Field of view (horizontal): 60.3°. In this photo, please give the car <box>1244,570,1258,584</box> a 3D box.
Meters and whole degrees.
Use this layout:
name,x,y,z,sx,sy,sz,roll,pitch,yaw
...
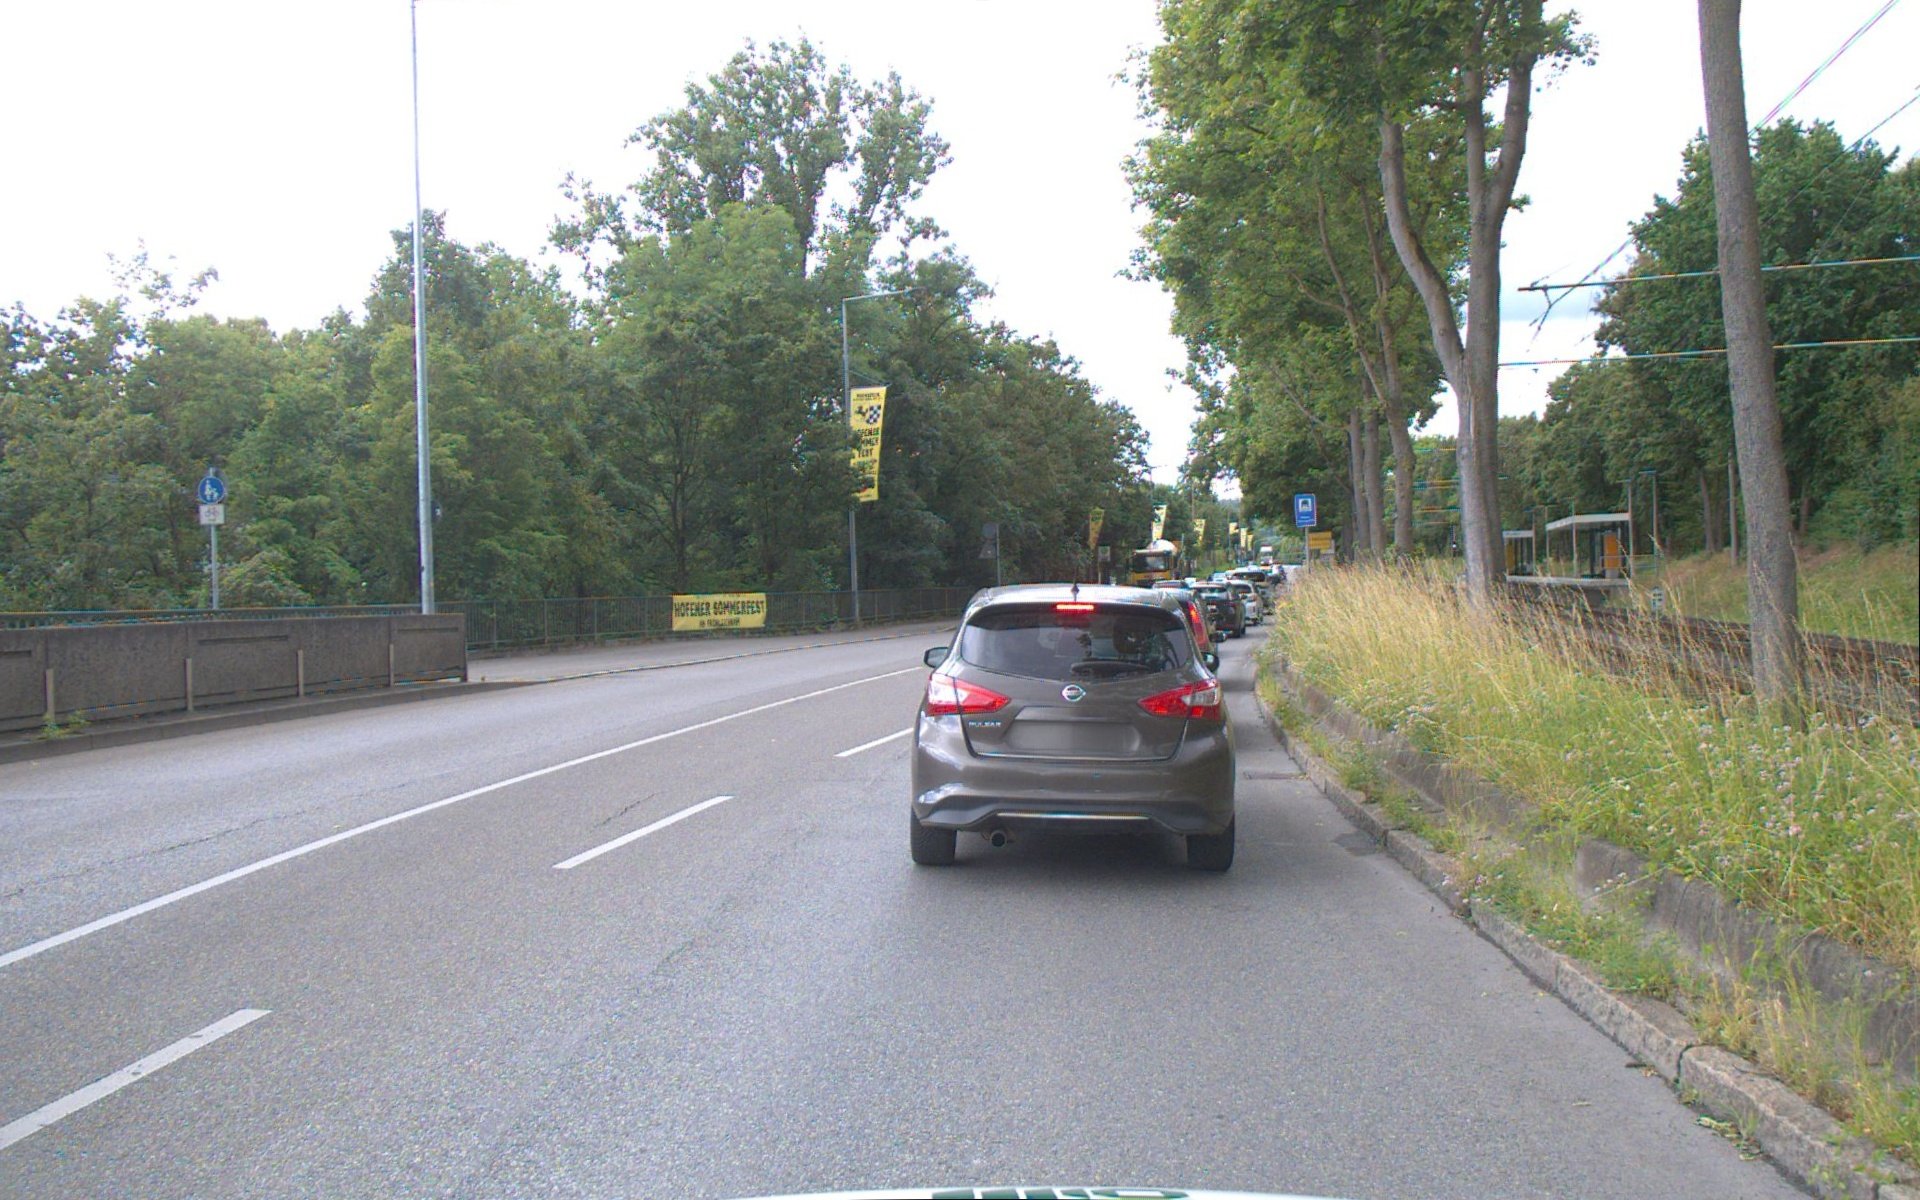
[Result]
name,x,y,z,sx,sy,sz,roll,pitch,yaw
car,39.952,-3.198,227.151,1.681,1.723,3.728,-2,-2,11

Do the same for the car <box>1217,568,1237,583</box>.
name,x,y,z,sx,sy,sz,roll,pitch,yaw
car,27.066,-2.500,167.518,1.779,1.488,4.004,-1,0,12

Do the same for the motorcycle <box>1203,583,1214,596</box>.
name,x,y,z,sx,sy,sz,roll,pitch,yaw
motorcycle,19.248,-0.820,128.133,0.729,1.051,1.890,0,1,13

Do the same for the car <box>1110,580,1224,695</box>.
name,x,y,z,sx,sy,sz,roll,pitch,yaw
car,3.175,0.526,25.126,1.544,1.565,4.003,-2,0,8

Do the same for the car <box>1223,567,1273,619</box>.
name,x,y,z,sx,sy,sz,roll,pitch,yaw
car,12.033,-0.296,68.887,1.850,2.049,4.004,-1,0,12

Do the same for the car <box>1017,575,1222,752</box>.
name,x,y,z,sx,sy,sz,roll,pitch,yaw
car,1.625,0.600,17.062,1.853,1.601,4.002,0,-1,5

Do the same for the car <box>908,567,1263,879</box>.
name,x,y,z,sx,sy,sz,roll,pitch,yaw
car,0.742,0.623,10.178,1.737,1.520,4.002,0,-1,4

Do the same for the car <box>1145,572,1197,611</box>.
name,x,y,z,sx,sy,sz,roll,pitch,yaw
car,8.799,-0.341,68.594,1.812,1.512,4.424,-1,-1,11

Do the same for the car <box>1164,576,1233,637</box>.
name,x,y,z,sx,sy,sz,roll,pitch,yaw
car,6.477,0.169,44.856,1.766,1.567,4.003,1,0,8

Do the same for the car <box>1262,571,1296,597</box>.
name,x,y,z,sx,sy,sz,roll,pitch,yaw
car,19.156,-0.967,99.237,1.850,1.470,3.810,-1,0,12

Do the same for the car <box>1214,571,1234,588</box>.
name,x,y,z,sx,sy,sz,roll,pitch,yaw
car,25.004,-1.952,156.796,1.684,1.467,4.003,-2,-1,11

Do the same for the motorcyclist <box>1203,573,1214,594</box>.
name,x,y,z,sx,sy,sz,roll,pitch,yaw
motorcyclist,19.262,-1.271,128.199,0.729,1.566,0.791,0,0,14

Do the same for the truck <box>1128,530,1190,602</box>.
name,x,y,z,sx,sy,sz,roll,pitch,yaw
truck,11.839,-1.965,97.631,2.598,4.007,10.120,0,0,13

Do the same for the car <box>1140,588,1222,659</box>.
name,x,y,z,sx,sy,sz,roll,pitch,yaw
car,4.759,0.478,35.358,1.468,1.388,3.590,-2,0,11

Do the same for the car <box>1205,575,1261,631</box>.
name,x,y,z,sx,sy,sz,roll,pitch,yaw
car,9.169,0.145,55.450,1.681,1.723,4.003,-2,-2,11
